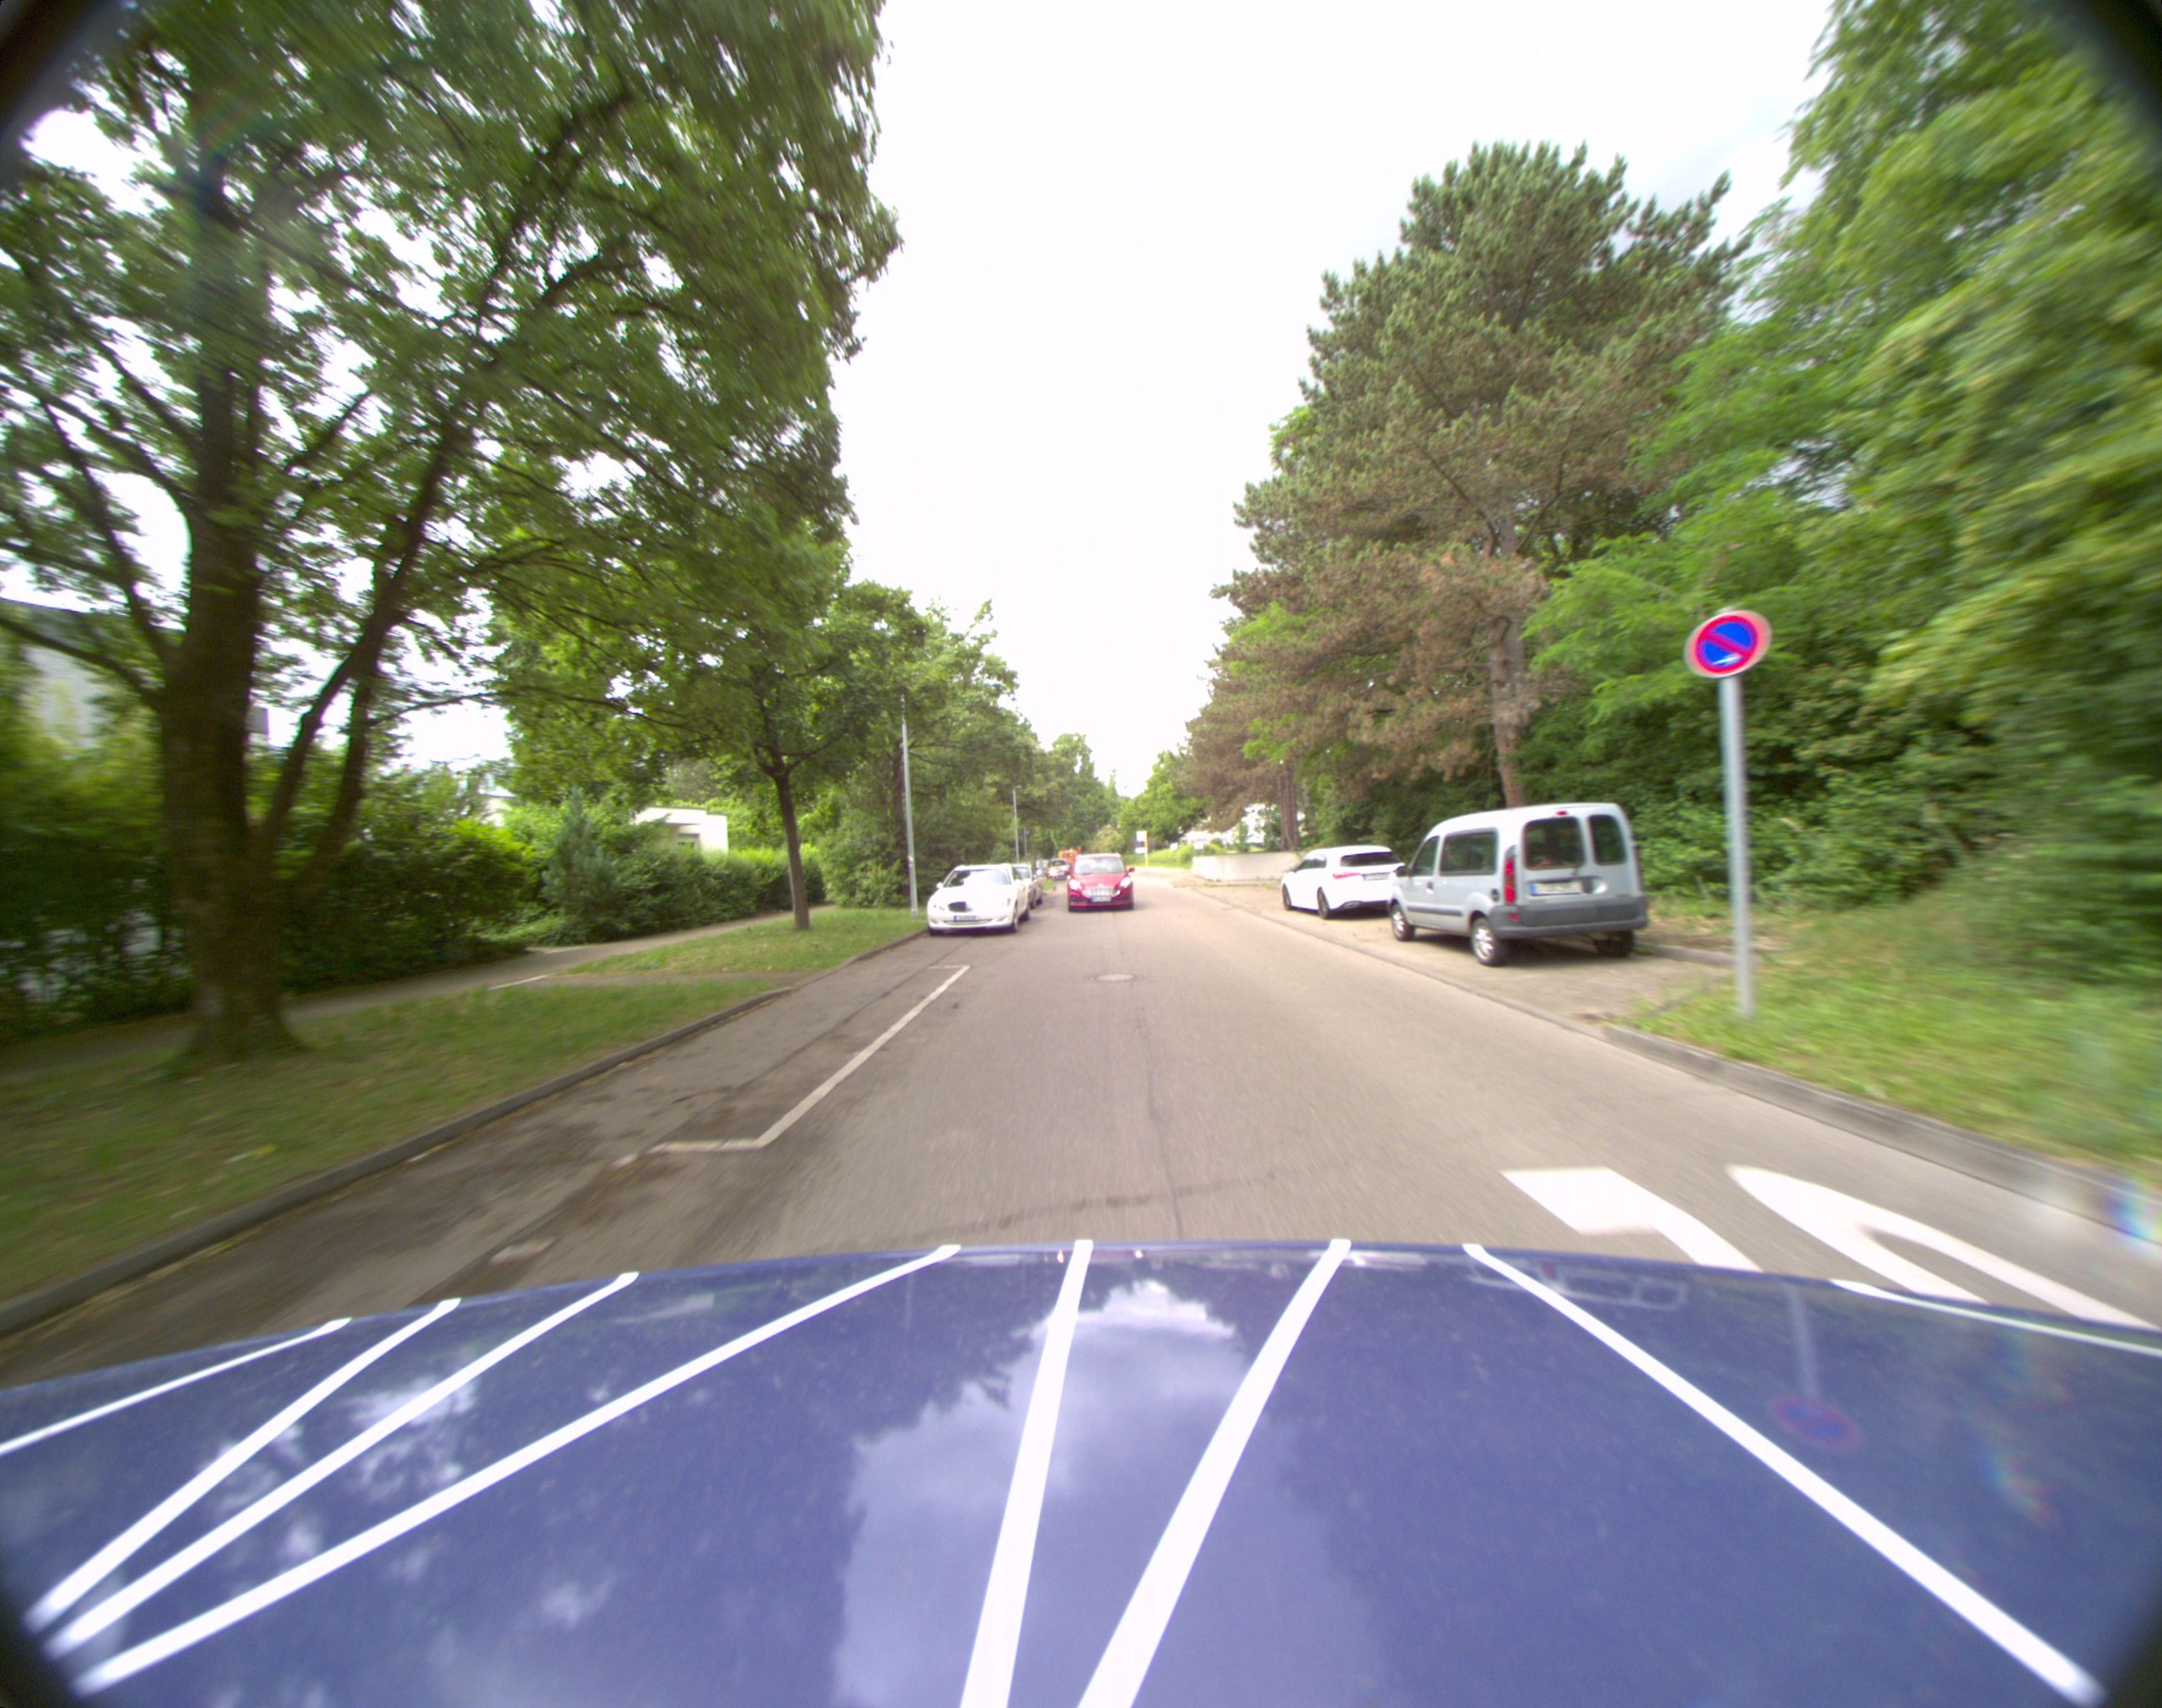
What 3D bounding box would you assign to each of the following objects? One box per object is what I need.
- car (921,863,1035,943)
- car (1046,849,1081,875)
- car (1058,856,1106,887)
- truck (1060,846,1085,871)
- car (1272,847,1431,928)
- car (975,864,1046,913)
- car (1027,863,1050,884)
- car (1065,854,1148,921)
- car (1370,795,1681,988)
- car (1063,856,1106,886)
[{"bbox_3d":[-2.236,1.015,17.921,1.891,1.498,5.176,-2,0,1],"label":"car"},{"bbox_3d":[-1.332,0.571,56.320,2.000,1.684,3.996,-5,1,-8],"label":"car"},{"bbox_3d":[0.012,0.925,42.635,1.949,1.522,4.083,-4,1,-10],"label":"car"},{"bbox_3d":[-0.894,0.484,81.043,2.328,2.455,6.020,-5,0,0],"label":"truck"},{"bbox_3d":[5.671,0.644,16.556,1.810,1.394,4.372,-4,0,0],"label":"car"},{"bbox_3d":[-2.261,1.084,25.421,1.797,1.402,4.059,-2,0,2],"label":"car"},{"bbox_3d":[-4.134,1.837,73.119,1.999,1.663,3.997,-5,1,-4],"label":"car"},{"bbox_3d":[0.619,0.883,22.153,1.946,1.550,4.354,-4,1,-3],"label":"car"},{"bbox_3d":[5.465,0.420,10.069,1.725,1.910,4.106,-5,-1,3],"label":"car"},{"bbox_3d":[0.141,0.893,42.383,1.999,1.503,3.998,-2,0,-6],"label":"car"}]
